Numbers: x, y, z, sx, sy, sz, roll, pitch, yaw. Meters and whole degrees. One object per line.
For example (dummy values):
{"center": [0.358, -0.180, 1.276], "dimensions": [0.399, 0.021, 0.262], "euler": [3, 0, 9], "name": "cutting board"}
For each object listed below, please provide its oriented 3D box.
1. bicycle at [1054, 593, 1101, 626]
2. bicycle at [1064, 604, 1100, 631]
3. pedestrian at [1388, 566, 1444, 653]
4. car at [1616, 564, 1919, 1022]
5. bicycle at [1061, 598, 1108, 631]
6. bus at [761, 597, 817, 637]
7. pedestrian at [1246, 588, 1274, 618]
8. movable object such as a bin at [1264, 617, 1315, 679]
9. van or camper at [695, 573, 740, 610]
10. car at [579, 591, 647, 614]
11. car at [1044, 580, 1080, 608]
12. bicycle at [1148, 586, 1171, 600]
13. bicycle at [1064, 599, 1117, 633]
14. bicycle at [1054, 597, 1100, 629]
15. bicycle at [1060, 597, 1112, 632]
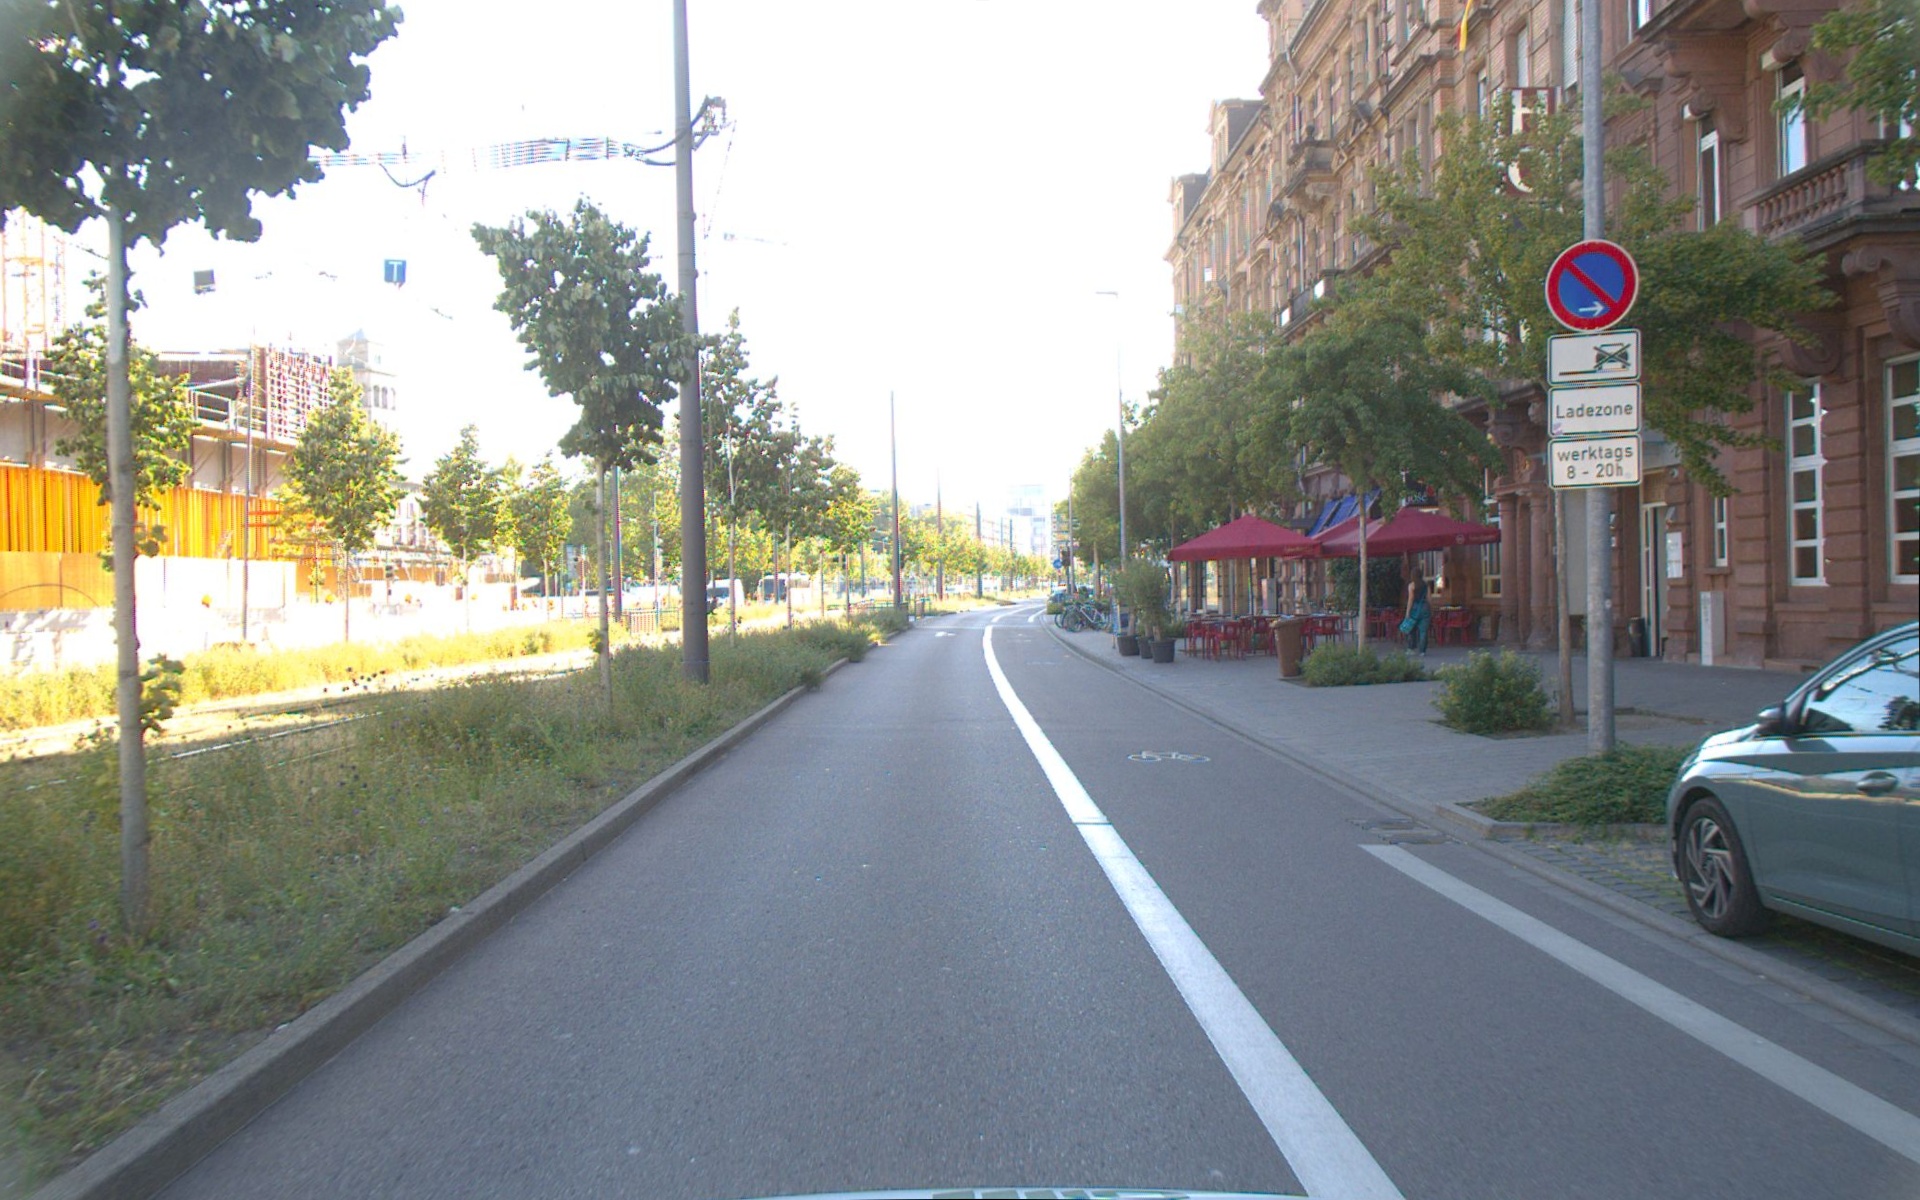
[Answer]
{"center": [4.549, 0.372, 63.955], "dimensions": [1.717, 1.123, 0.507], "euler": [-4, 0, 5], "name": "bicycle"}
{"center": [4.505, 0.634, 61.168], "dimensions": [1.248, 0.892, 0.507], "euler": [-4, 0, 5], "name": "bicycle"}
{"center": [8.418, 0.172, 30.561], "dimensions": [0.713, 1.560, 0.797], "euler": [-3, 0, -1], "name": "pedestrian"}
{"center": [4.321, 0.669, 6.354], "dimensions": [1.811, 1.591, 4.296], "euler": [-3, 0, 0], "name": "car"}
{"center": [4.722, 0.560, 62.673], "dimensions": [1.685, 1.123, 0.507], "euler": [-4, 0, 5], "name": "bicycle"}
{"center": [-17.143, 1.638, 166.787], "dimensions": [2.739, 3.657, 12.708], "euler": [-1, 0, 7], "name": "bus"}
{"center": [9.958, 0.095, 54.919], "dimensions": [0.797, 0.979, 0.804], "euler": [-2, 0, 1], "name": "pedestrian"}
{"center": [5.370, 0.779, 26.940], "dimensions": [0.661, 0.940, 0.560], "euler": [-5, -1, 20], "name": "movable object such as a bin"}
{"center": [-18.103, -0.654, 123.718], "dimensions": [2.176, 2.553, 7.200], "euler": [-3, 1, 0], "name": "van or camper"}
{"center": [-28.924, 0.208, 137.820], "dimensions": [5.116, 1.747, 2.126], "euler": [-1, 0, 5], "name": "car"}
{"center": [6.496, -0.392, 105.787], "dimensions": [1.892, 1.626, 4.699], "euler": [-3, 0, 0], "name": "car"}
{"center": [17.315, -0.601, 143.615], "dimensions": [1.860, 1.112, 0.392], "euler": [-3, 0, 1], "name": "bicycle"}
{"center": [4.574, 0.569, 57.940], "dimensions": [1.767, 1.065, 0.566], "euler": [-4, 0, 5], "name": "bicycle"}
{"center": [4.583, 0.523, 64.546], "dimensions": [1.717, 1.123, 0.507], "euler": [-4, 0, 5], "name": "bicycle"}
{"center": [4.550, 0.527, 59.577], "dimensions": [1.805, 1.123, 0.566], "euler": [-4, 0, 5], "name": "bicycle"}
